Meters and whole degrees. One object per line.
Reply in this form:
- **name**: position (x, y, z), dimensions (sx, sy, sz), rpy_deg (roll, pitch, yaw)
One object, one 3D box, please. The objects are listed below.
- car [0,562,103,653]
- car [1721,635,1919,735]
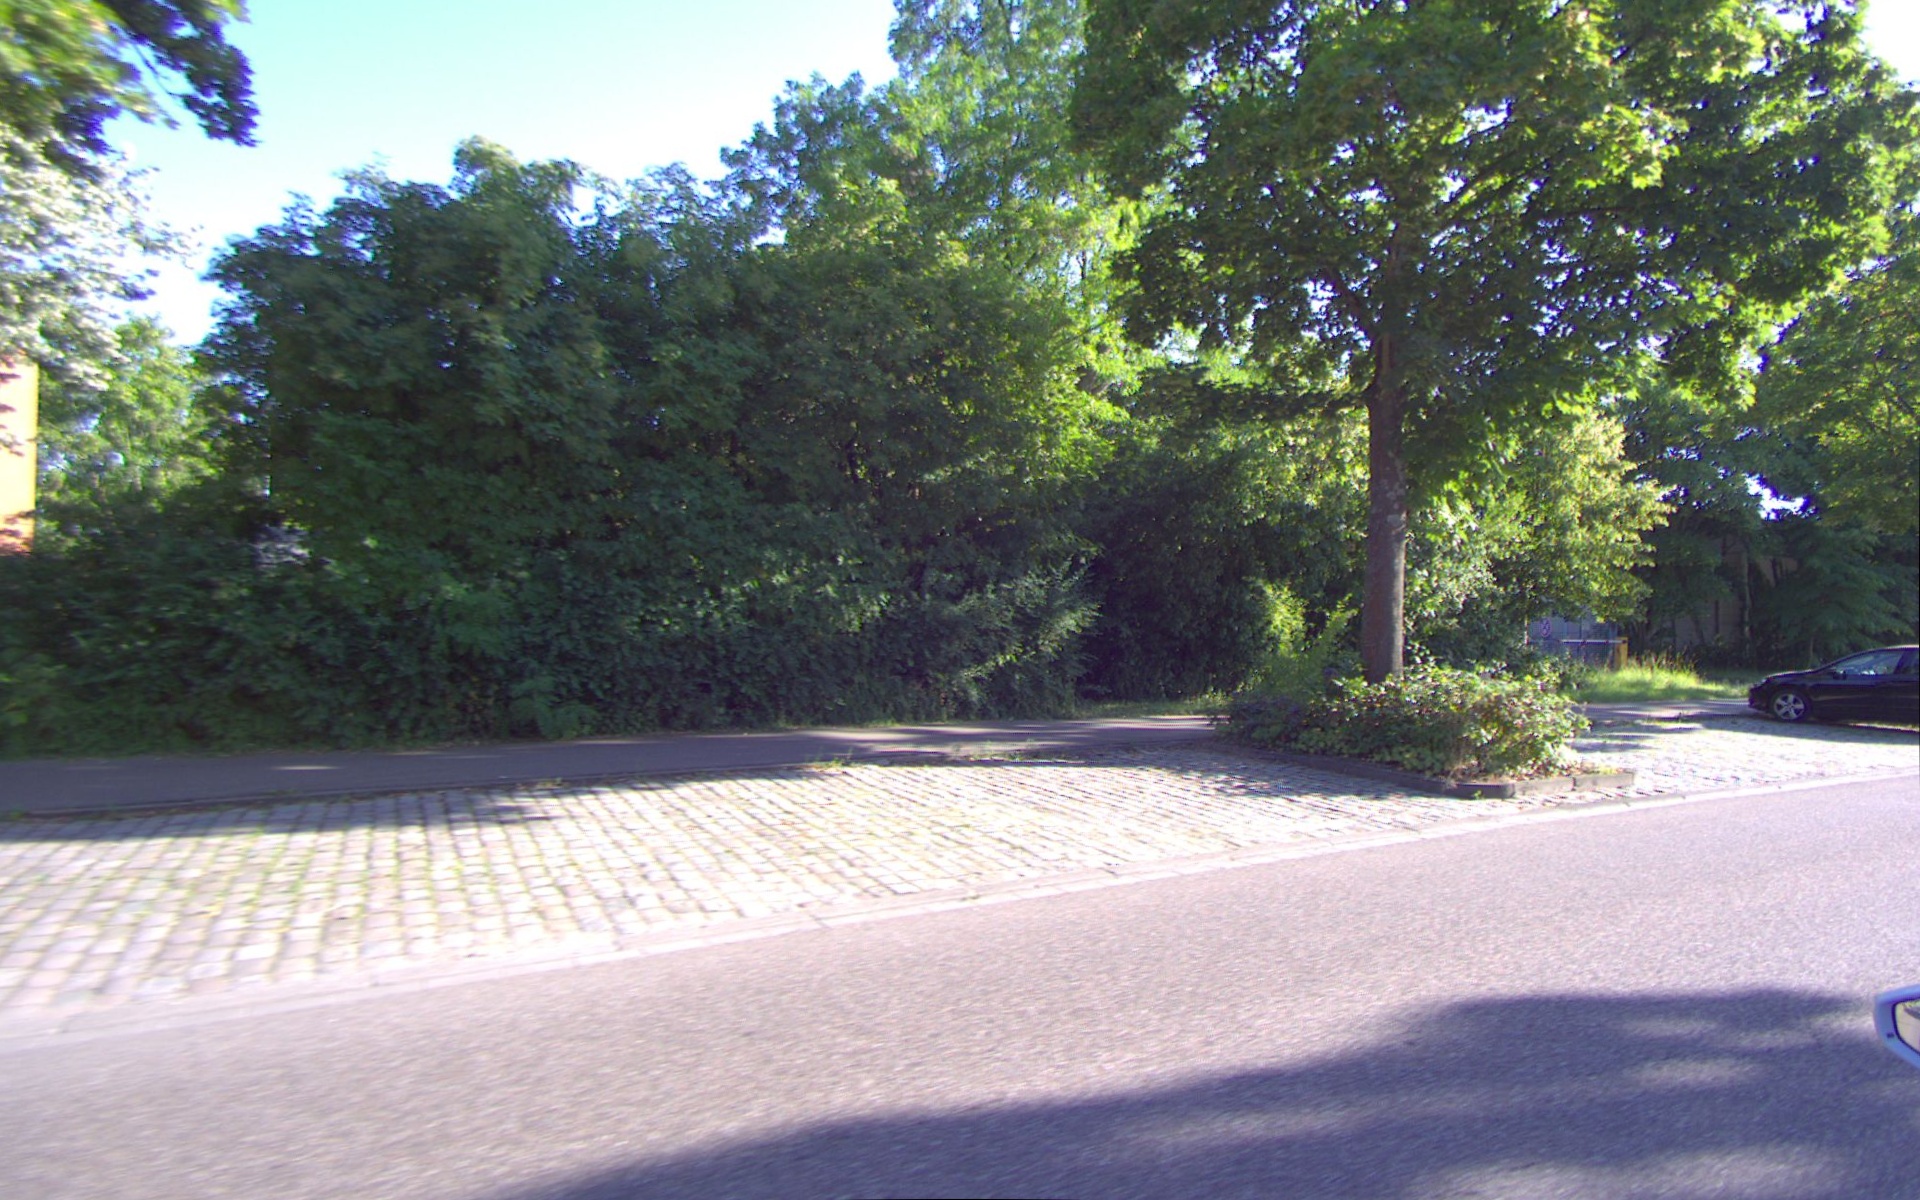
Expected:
- **car**: position (-20.675, 0.170, 21.852), dimensions (1.758, 1.840, 3.982), rpy_deg (1, -2, -20)
- **car**: position (16.294, 1.473, 17.544), dimensions (1.976, 1.499, 4.339), rpy_deg (2, 0, -29)
